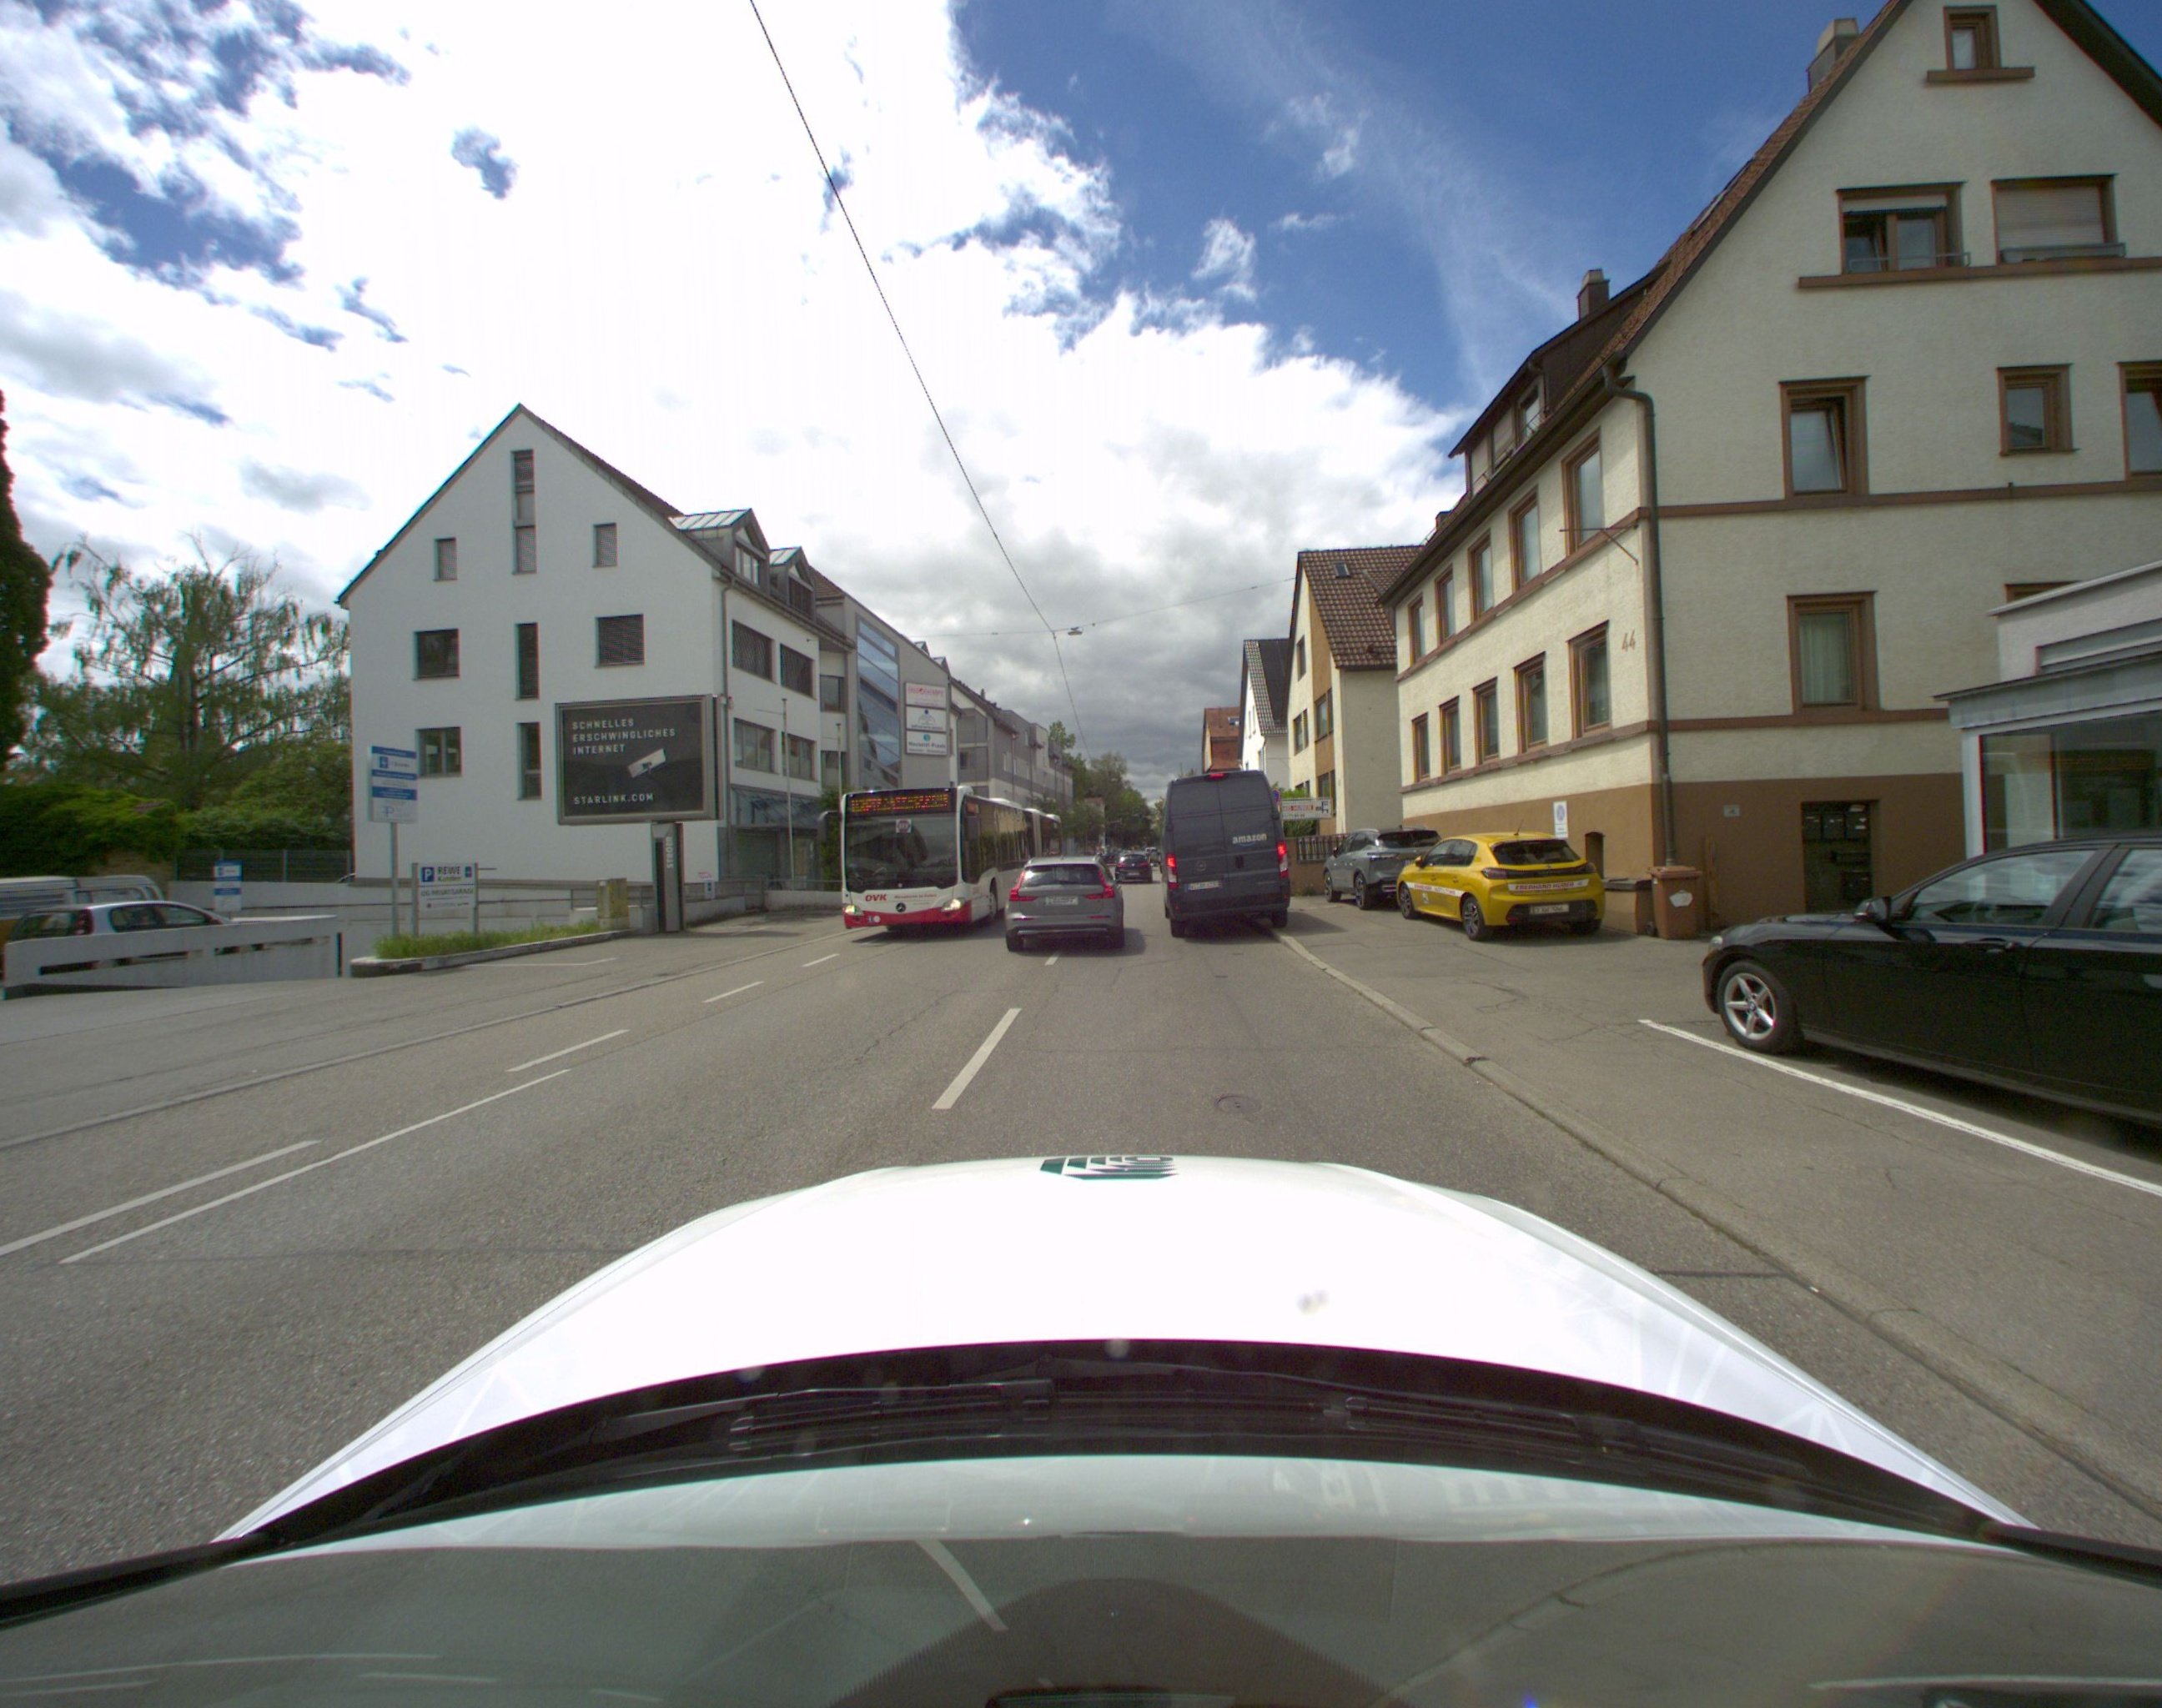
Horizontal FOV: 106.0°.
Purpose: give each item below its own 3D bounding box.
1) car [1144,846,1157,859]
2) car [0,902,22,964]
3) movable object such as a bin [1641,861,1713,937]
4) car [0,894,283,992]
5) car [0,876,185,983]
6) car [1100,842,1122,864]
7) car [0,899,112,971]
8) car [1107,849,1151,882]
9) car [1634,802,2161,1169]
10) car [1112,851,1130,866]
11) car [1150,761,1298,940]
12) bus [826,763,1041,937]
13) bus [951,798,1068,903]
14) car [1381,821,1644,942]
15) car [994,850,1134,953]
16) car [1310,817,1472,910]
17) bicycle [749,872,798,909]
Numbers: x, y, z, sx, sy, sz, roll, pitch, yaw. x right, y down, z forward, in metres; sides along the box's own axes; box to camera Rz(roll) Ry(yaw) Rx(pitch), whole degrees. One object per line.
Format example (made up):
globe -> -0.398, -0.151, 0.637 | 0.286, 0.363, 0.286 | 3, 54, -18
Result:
car -> 11.674, -0.287, 136.345 | 1.984, 2.013, 4.006 | -2, 0, 6
car -> -26.743, 1.961, 17.465 | 1.801, 1.438, 4.519 | -4, 0, 9
movable object such as a bin -> 7.676, 0.571, 10.511 | 0.498, 0.925, 0.599 | -3, 0, 7
car -> -19.230, 1.725, 16.750 | 1.805, 1.529, 3.758 | -2, 0, 1
car -> -21.943, 1.549, 16.601 | 1.828, 1.989, 4.658 | -2, 0, 7
car -> 3.240, -0.107, 87.606 | 2.096, 2.121, 4.770 | -4, 0, 3
car -> -24.385, 1.856, 17.219 | 1.801, 1.438, 4.694 | -2, 0, 9
car -> 2.343, 0.511, 39.035 | 1.887, 1.446, 3.975 | -2, 0, 6
car -> 5.274, 0.476, 4.103 | 1.961, 1.447, 4.538 | -3, 0, 2
car -> 4.853, 0.480, 99.124 | 2.096, 1.709, 4.770 | -2, 0, 3
car -> 2.588, -0.073, 15.918 | 2.241, 2.795, 5.579 | -2, 0, 6
bus -> -3.054, -0.091, 20.443 | 2.670, 3.163, 10.197 | -3, 0, 4
bus -> -2.311, -0.126, 29.521 | 2.703, 3.163, 8.080 | -3, 0, 5
car -> 6.318, 0.268, 12.575 | 1.870, 1.447, 4.310 | -3, 2, 2
car -> -0.130, 0.697, 13.936 | 1.887, 1.453, 3.975 | -2, 0, 6
car -> 6.390, 0.157, 17.371 | 1.853, 1.612, 4.590 | -4, 0, 3
bicycle -> -9.982, 1.162, 26.536 | 0.627, 1.095, 2.006 | -2, 0, 5
